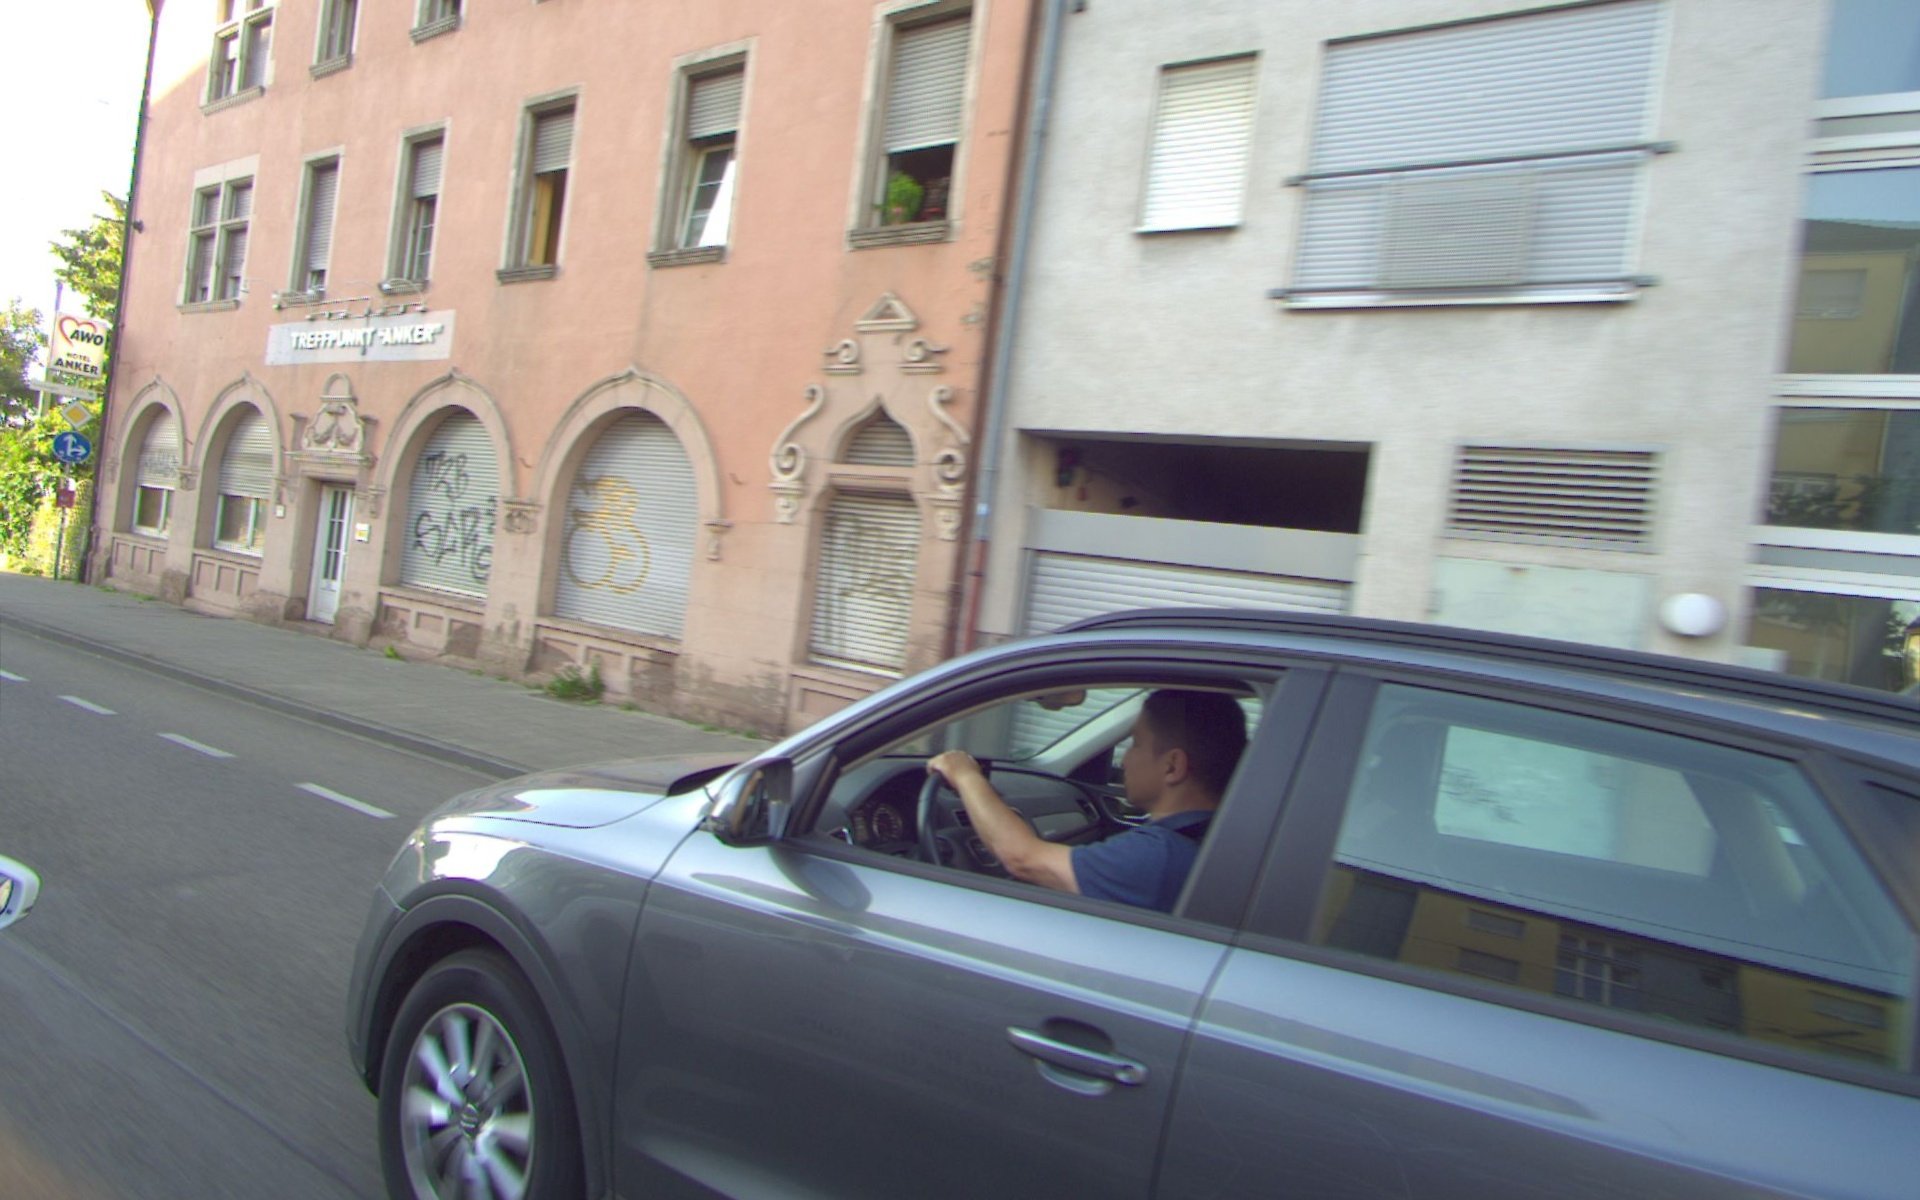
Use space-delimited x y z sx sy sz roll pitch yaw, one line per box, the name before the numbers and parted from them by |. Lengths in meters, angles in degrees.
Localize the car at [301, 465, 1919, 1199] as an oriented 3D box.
car | 0.654 0.776 2.088 4.000 1.607 1.768 8 1 32
